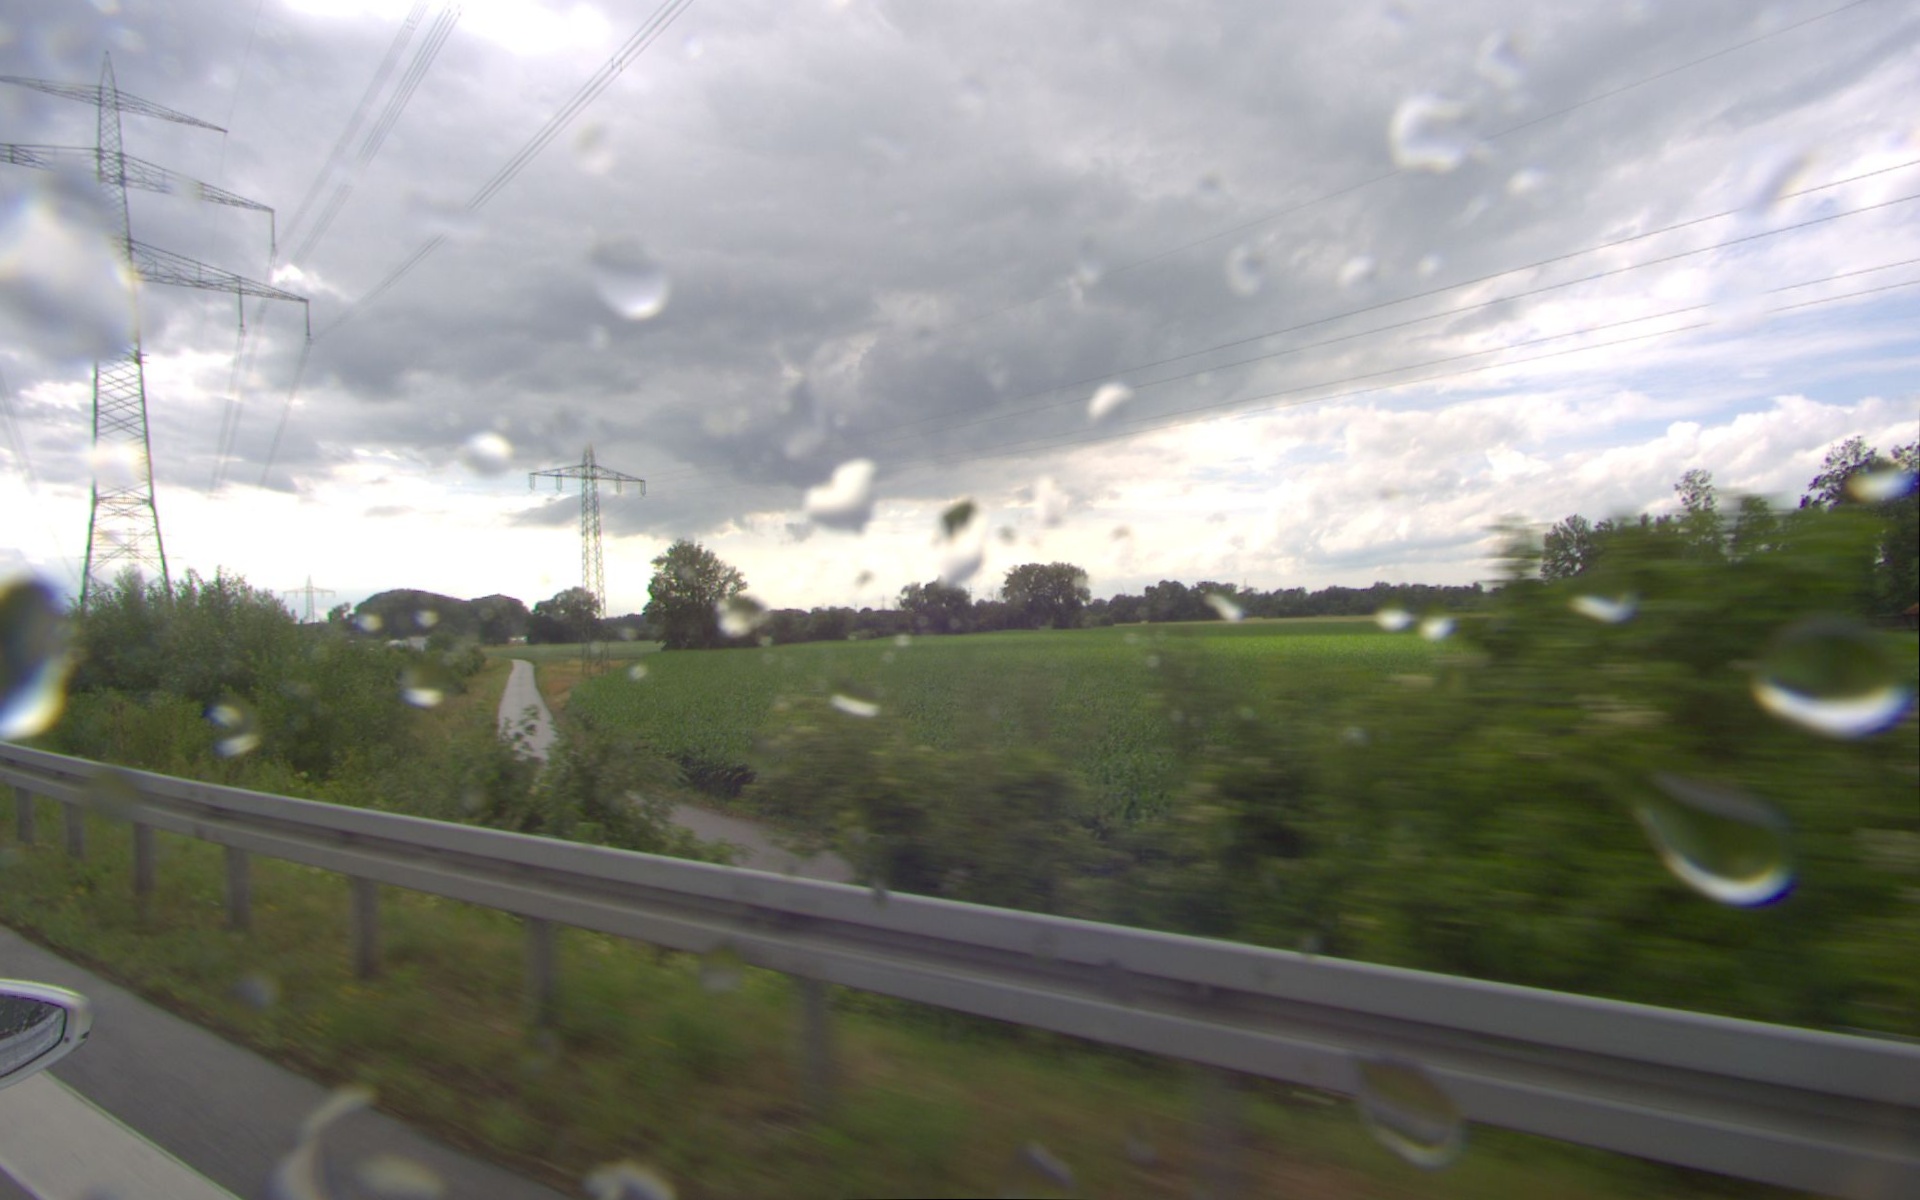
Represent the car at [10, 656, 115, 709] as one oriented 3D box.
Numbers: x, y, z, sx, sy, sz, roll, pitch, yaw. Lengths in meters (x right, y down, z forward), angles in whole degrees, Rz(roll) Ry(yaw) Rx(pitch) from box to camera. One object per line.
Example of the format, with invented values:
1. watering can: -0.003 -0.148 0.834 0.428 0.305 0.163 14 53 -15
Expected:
1. car: -39.634 3.587 44.391 2.096 2.044 5.512 -2 -1 -27
